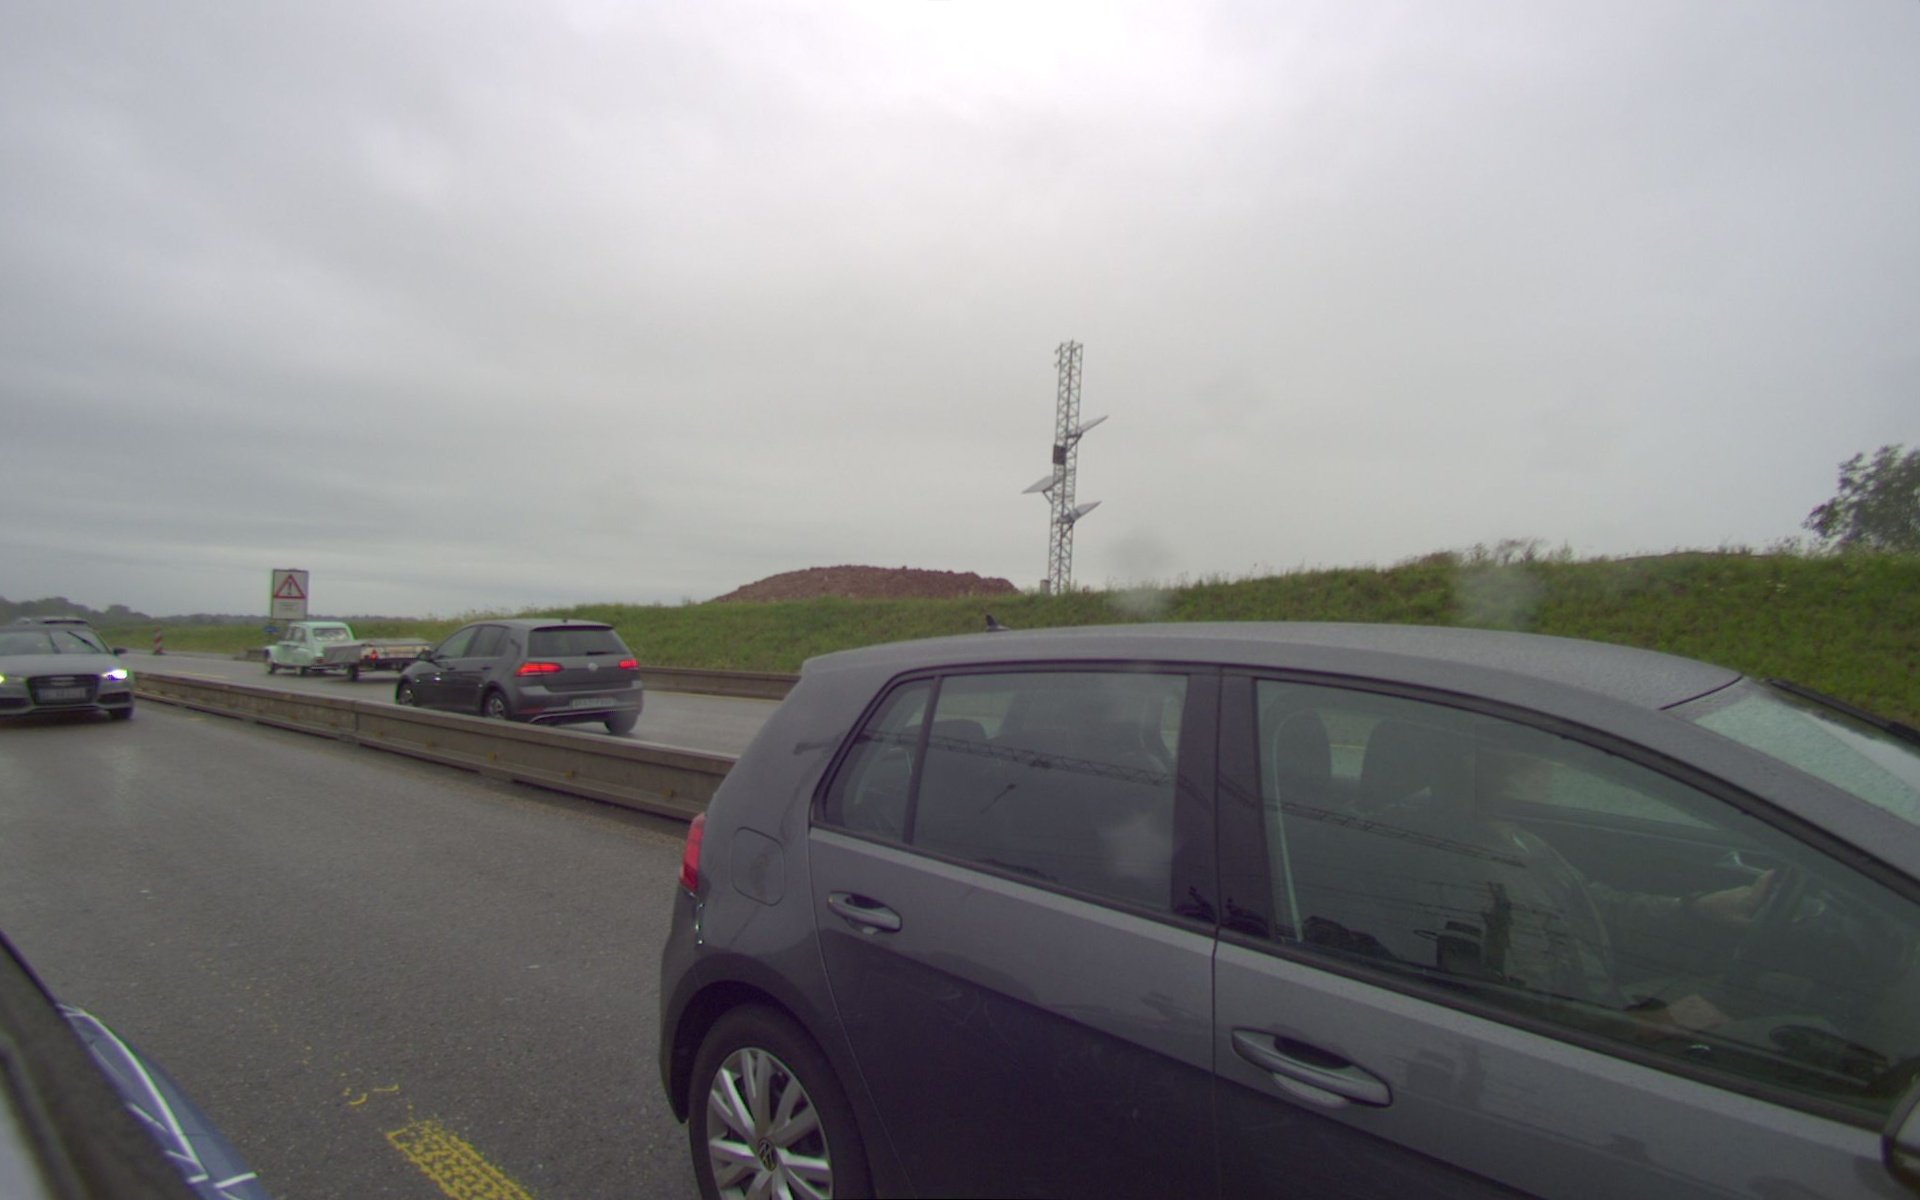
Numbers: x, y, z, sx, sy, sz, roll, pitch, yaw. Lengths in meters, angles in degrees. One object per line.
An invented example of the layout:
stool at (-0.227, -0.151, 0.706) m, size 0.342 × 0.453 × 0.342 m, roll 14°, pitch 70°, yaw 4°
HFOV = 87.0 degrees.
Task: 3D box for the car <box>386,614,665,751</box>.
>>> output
car at (-5.540, 0.910, 12.734) m, size 3.705 × 1.437 × 1.770 m, roll -1°, pitch 0°, yaw 40°

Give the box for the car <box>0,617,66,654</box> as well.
car at (-44.167, 1.668, 48.158) m, size 4.749 × 1.638 × 1.802 m, roll -1°, pitch 0°, yaw 40°

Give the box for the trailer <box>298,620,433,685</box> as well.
trailer at (-14.885, 1.268, 25.260) m, size 4.158 × 1.475 × 1.613 m, roll 0°, pitch -2°, yaw 40°

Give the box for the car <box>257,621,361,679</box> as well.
car at (-17.926, 1.334, 27.808) m, size 3.714 × 1.475 × 1.344 m, roll 0°, pitch -2°, yaw 40°

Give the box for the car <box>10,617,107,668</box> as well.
car at (-31.366, 1.426, 35.175) m, size 4.306 × 1.605 × 1.922 m, roll 0°, pitch -1°, yaw 40°

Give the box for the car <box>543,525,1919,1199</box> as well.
car at (1.126, 0.719, 1.788) m, size 4.365 × 1.518 × 1.597 m, roll 0°, pitch -2°, yaw 40°

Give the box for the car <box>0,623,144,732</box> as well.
car at (-13.926, 1.078, 15.272) m, size 4.085 × 1.393 × 1.782 m, roll 0°, pitch -1°, yaw 40°
